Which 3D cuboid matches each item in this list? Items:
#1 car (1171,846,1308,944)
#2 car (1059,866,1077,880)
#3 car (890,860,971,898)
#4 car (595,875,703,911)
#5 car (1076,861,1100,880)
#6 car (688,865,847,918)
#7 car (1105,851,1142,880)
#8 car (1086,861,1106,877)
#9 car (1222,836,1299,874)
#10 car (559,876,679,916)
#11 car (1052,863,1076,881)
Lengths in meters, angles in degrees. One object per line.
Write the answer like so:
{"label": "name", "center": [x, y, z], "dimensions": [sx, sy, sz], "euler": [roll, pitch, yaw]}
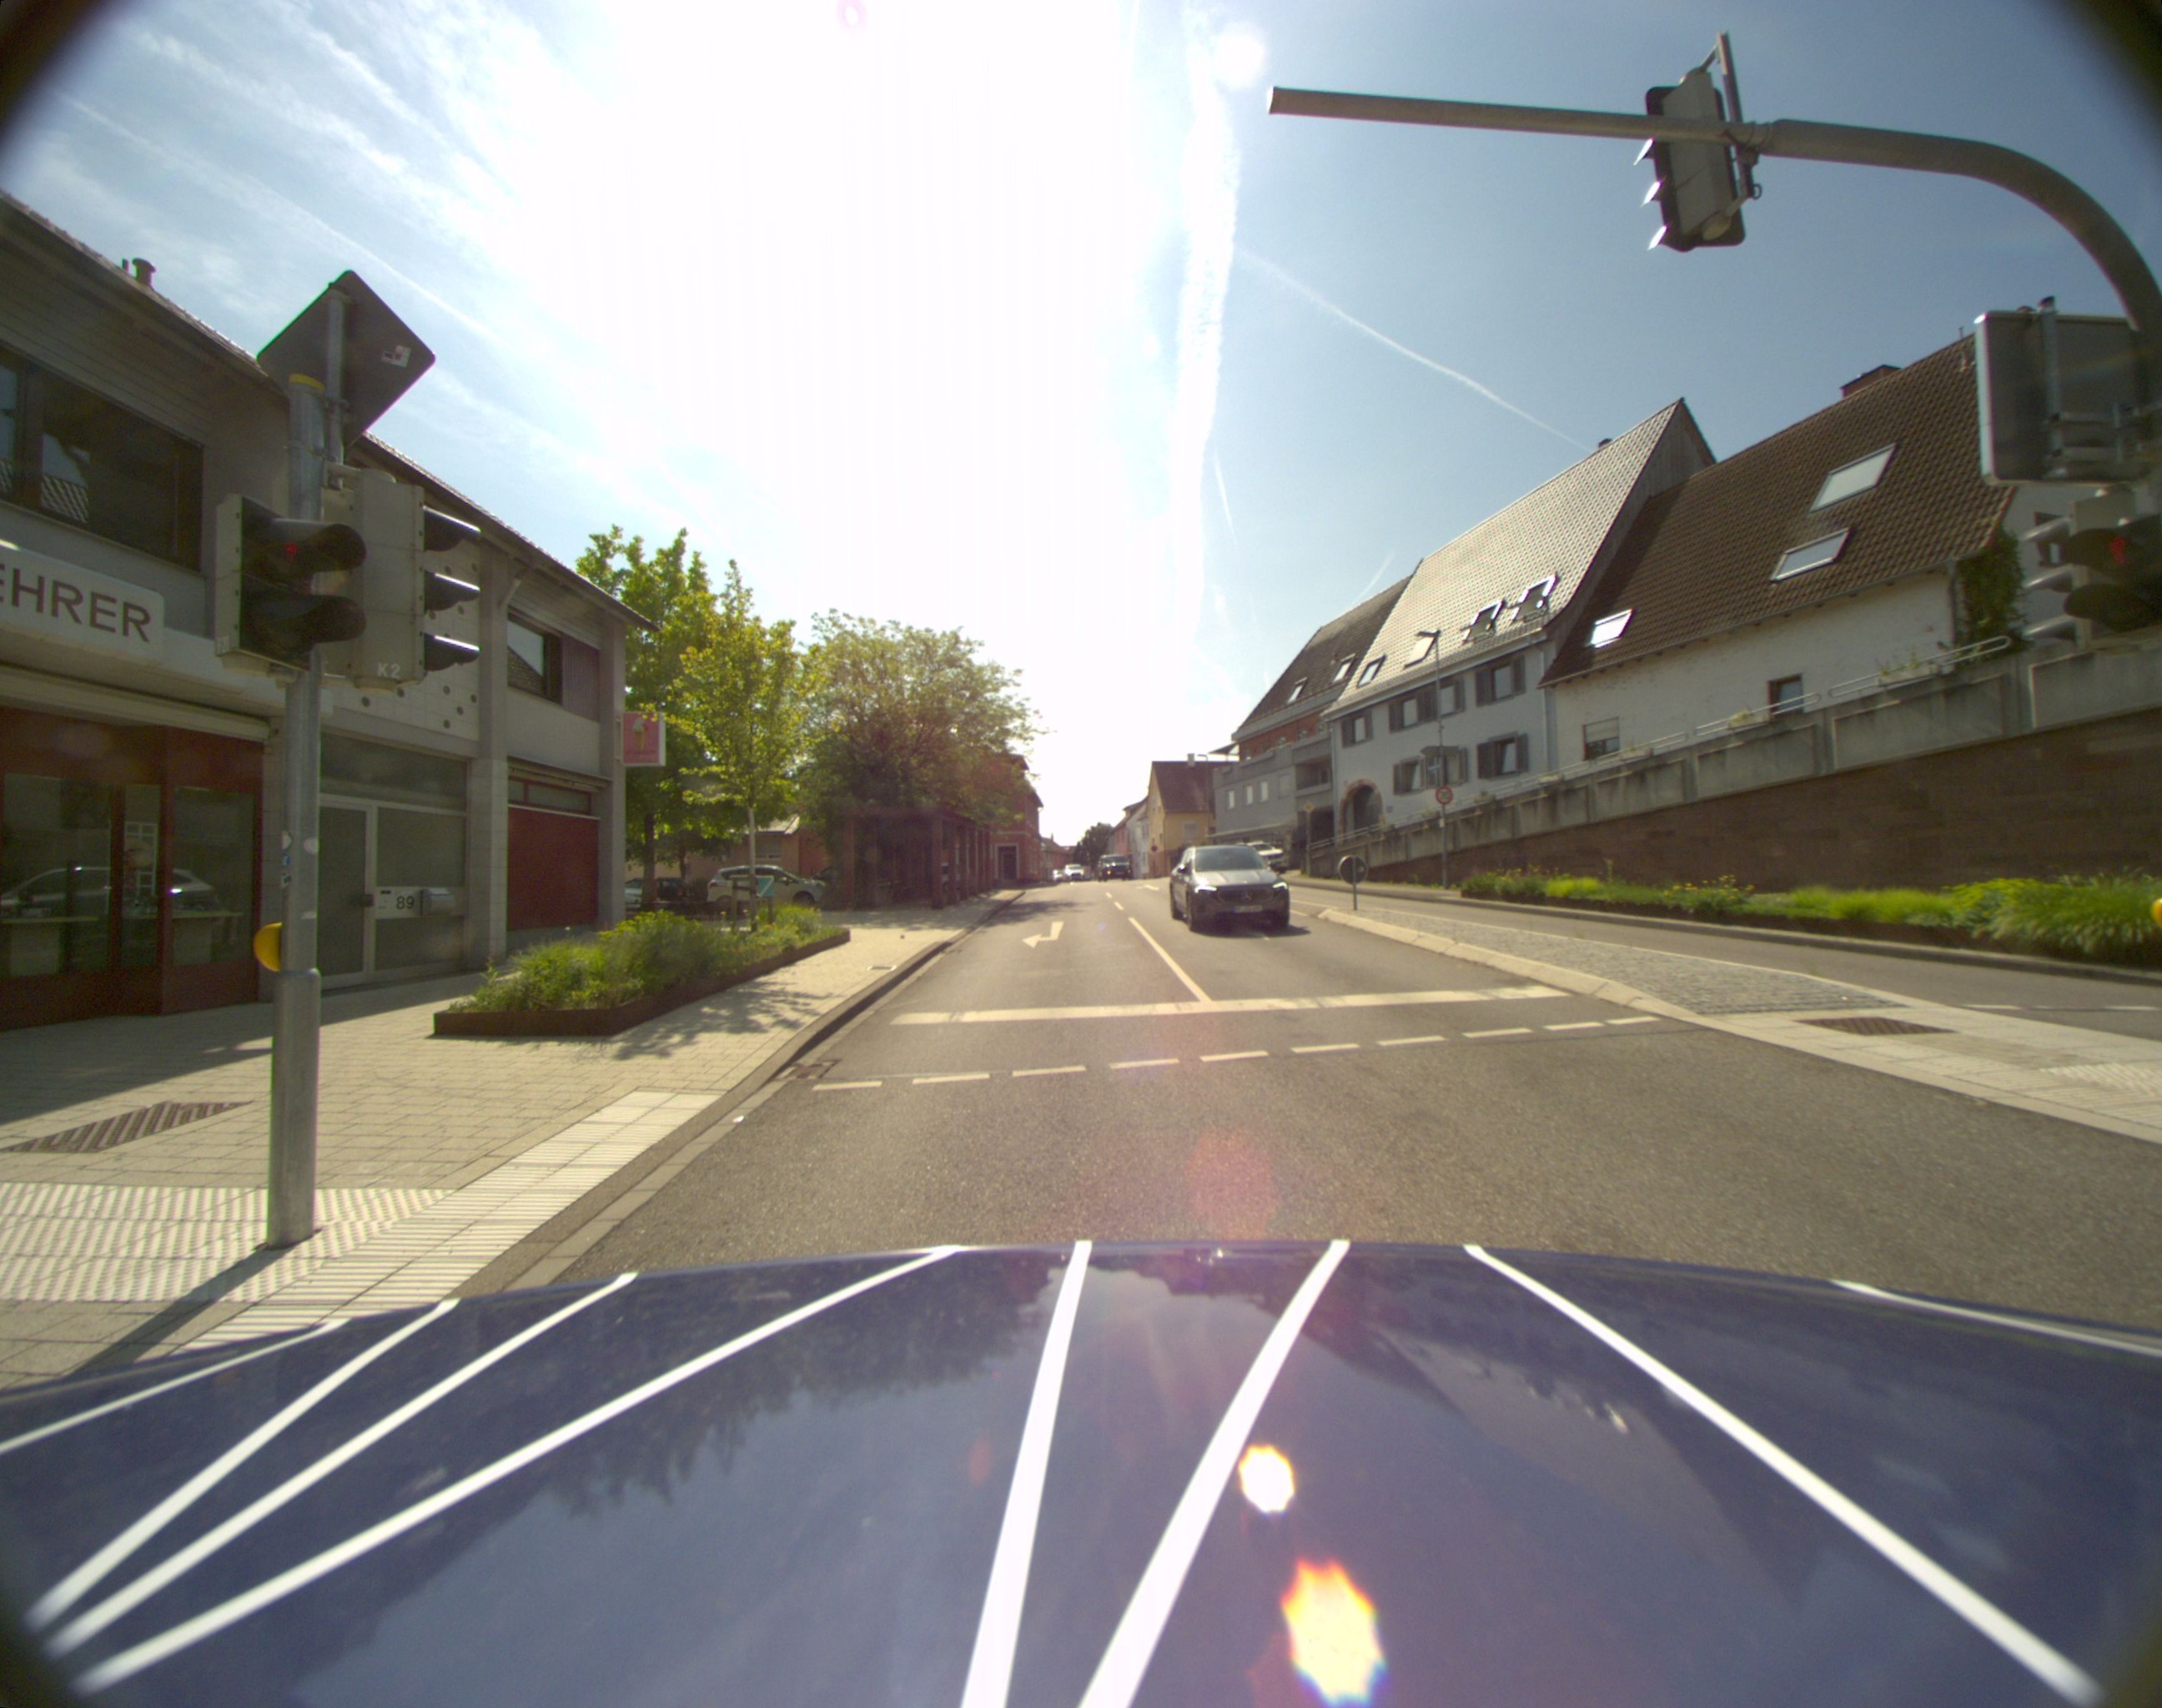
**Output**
{"label": "car", "center": [2.946, 0.685, 15.027], "dimensions": [1.737, 1.564, 4.290], "euler": [-3, 0, 0]}
{"label": "car", "center": [-1.510, 2.209, 89.303], "dimensions": [1.836, 1.533, 4.171], "euler": [-2, 0, 2]}
{"label": "car", "center": [-8.637, 1.400, 43.756], "dimensions": [4.096, 1.743, 1.813], "euler": [-6, 0, 5]}
{"label": "car", "center": [-19.266, 1.724, 33.958], "dimensions": [3.881, 1.423, 1.520], "euler": [-2, 0, -2]}
{"label": "car", "center": [0.595, 1.481, 68.888], "dimensions": [1.780, 1.533, 4.098], "euler": [-3, 0, -3]}
{"label": "car", "center": [-10.241, 1.210, 25.079], "dimensions": [4.493, 1.535, 1.725], "euler": [-2, 0, -2]}
{"label": "car", "center": [2.552, 0.683, 46.769], "dimensions": [1.793, 1.642, 4.392], "euler": [-2, 0, -3]}
{"label": "car", "center": [1.854, 1.937, 96.990], "dimensions": [1.974, 1.921, 5.312], "euler": [-1, -1, -5]}
{"label": "car", "center": [9.499, 0.084, 40.725], "dimensions": [1.811, 1.787, 5.280], "euler": [-3, 0, -12]}
{"label": "car", "center": [-19.104, 1.718, 31.540], "dimensions": [3.881, 1.482, 1.654], "euler": [-2, 0, -2]}
{"label": "car", "center": [-1.566, 1.628, 68.533], "dimensions": [1.788, 1.417, 3.706], "euler": [-3, -1, -7]}
